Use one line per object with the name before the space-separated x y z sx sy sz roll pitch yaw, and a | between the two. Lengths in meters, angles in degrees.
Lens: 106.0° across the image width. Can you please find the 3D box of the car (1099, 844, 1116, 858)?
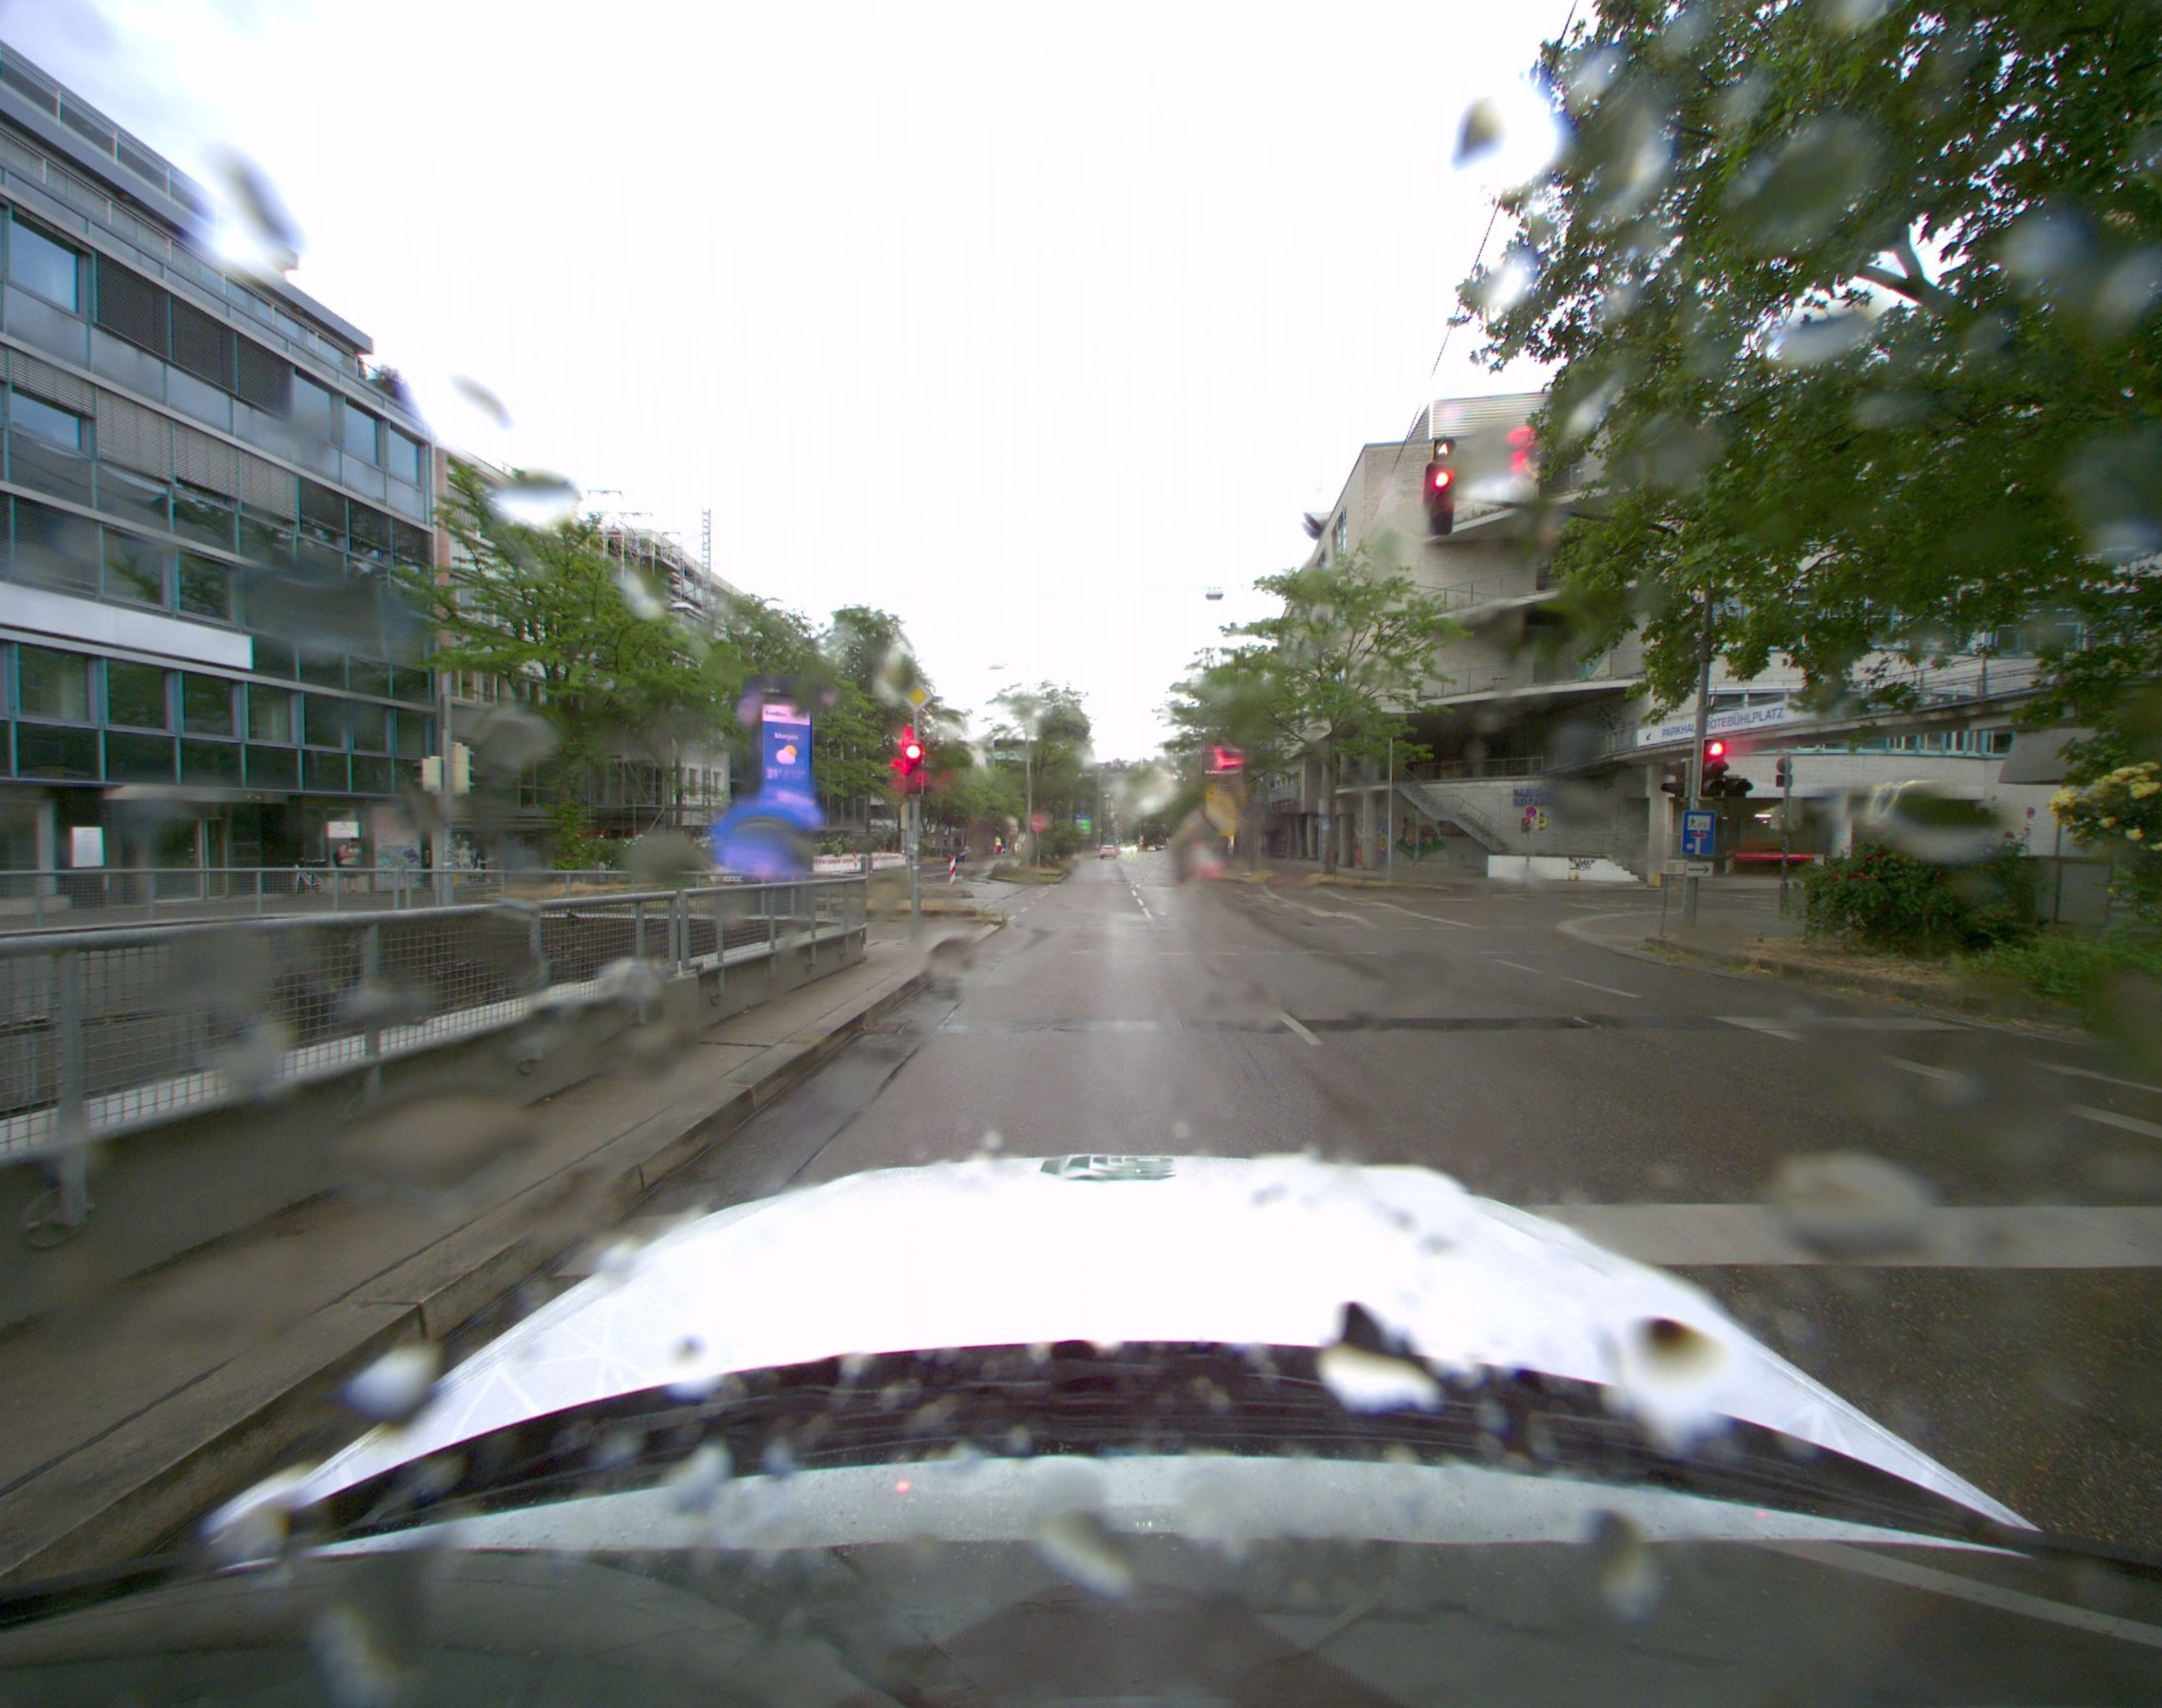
car | 3.152 -0.338 97.269 1.823 1.640 4.300 1 0 0

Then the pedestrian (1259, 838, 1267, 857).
pedestrian | 18.888 -0.654 84.498 0.770 1.920 0.705 -1 -1 11

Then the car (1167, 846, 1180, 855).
car | 17.637 -0.635 155.485 1.986 1.723 4.001 0 -1 1

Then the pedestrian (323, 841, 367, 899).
pedestrian | -22.808 0.485 25.244 0.694 1.741 0.694 1 0 -4

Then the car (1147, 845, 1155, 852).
car | 18.484 -1.547 214.950 1.987 1.758 4.000 1 0 1

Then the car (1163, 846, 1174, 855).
car | 17.867 -0.653 166.646 1.986 1.736 4.001 0 -1 2

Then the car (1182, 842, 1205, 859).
car | 11.539 -0.344 83.349 2.324 1.691 4.010 0 0 9

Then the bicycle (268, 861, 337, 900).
bicycle | -22.953 0.761 24.044 0.444 1.085 1.567 0 0 6

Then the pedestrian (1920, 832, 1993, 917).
pedestrian | 19.934 0.457 18.559 0.843 1.910 0.758 0 0 1
